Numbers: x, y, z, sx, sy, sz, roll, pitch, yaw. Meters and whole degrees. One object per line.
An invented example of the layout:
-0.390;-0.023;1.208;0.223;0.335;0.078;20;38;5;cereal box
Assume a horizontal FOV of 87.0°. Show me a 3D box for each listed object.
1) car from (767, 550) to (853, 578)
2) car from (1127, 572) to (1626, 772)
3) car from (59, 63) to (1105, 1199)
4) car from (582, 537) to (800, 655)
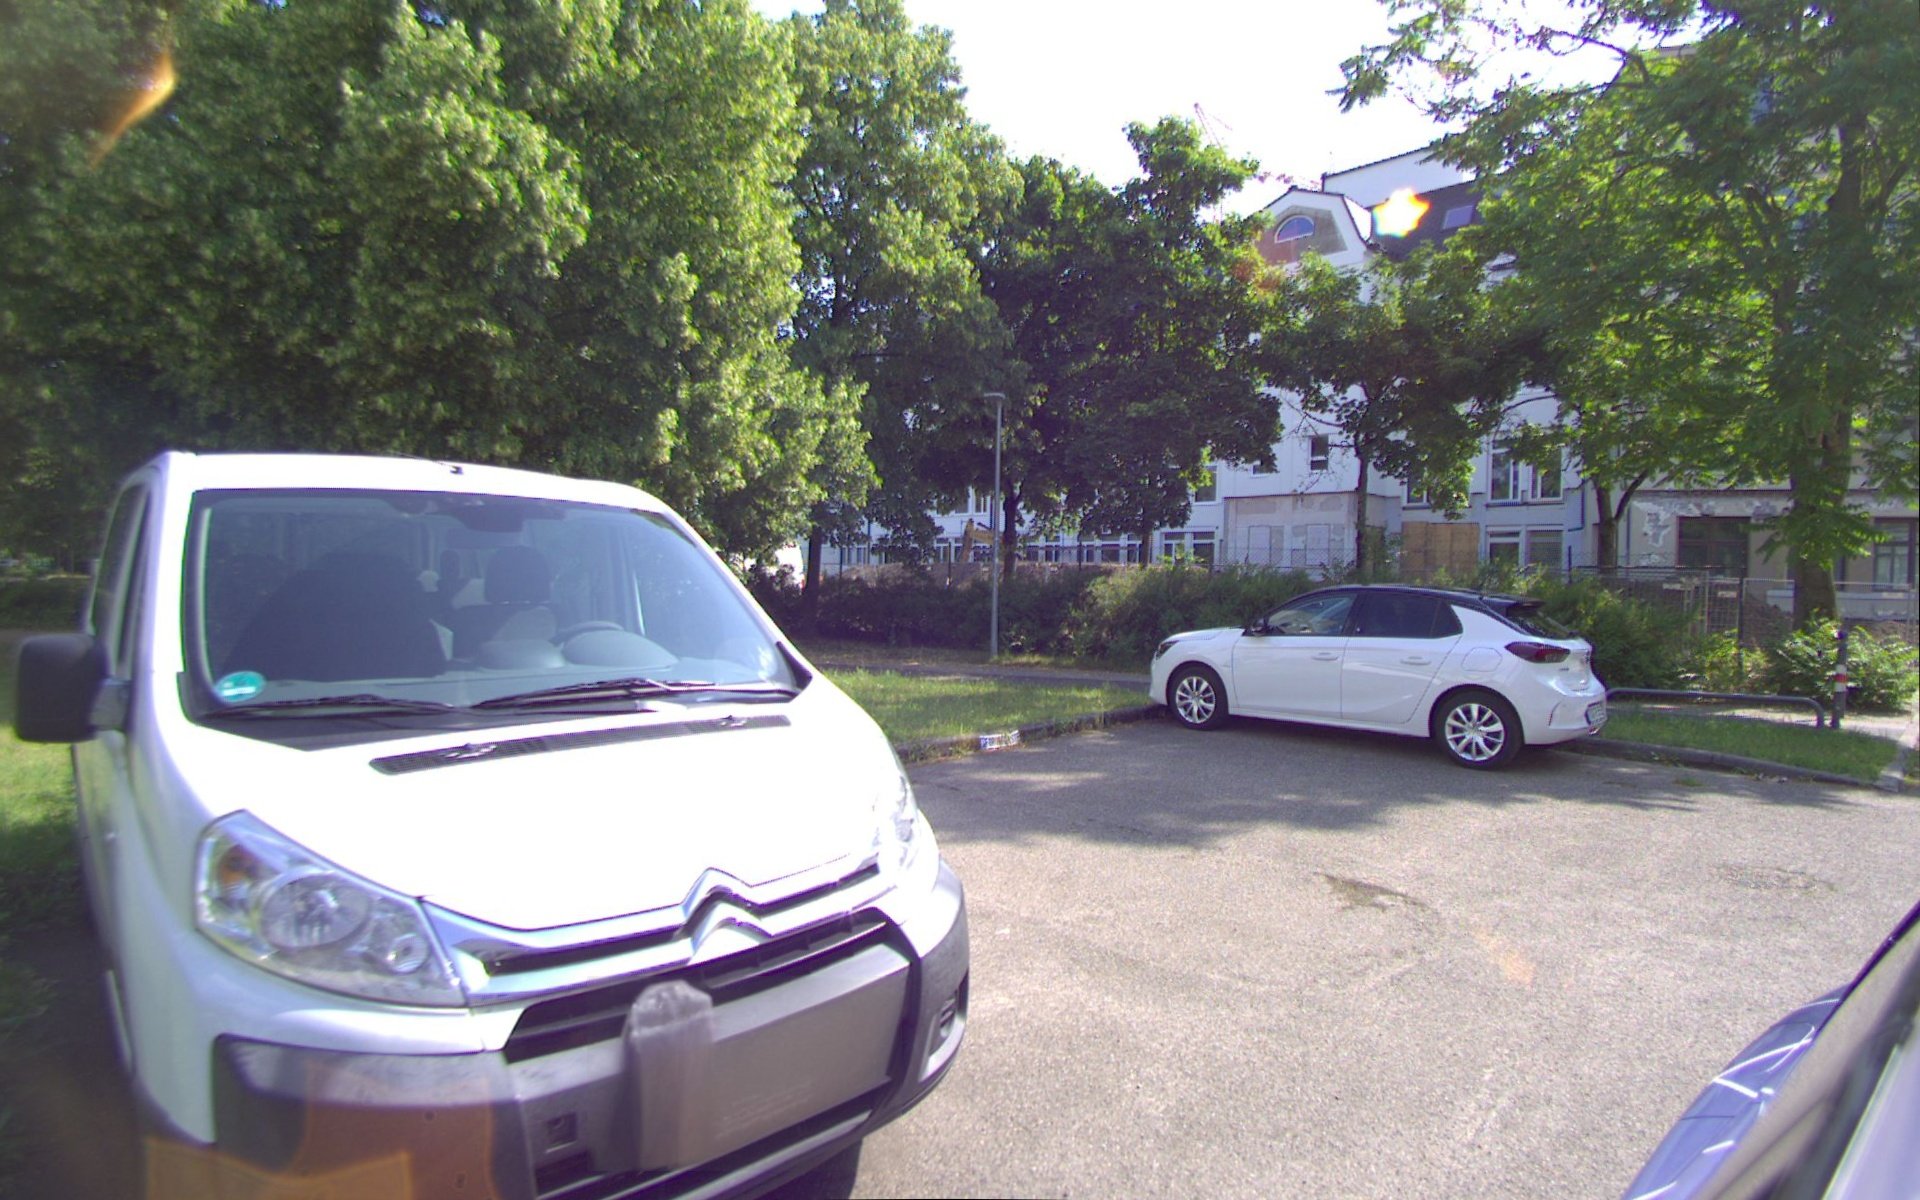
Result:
-8.685;-2.042;58.846;4.787;1.446;1.840;0;-1;-44;car
3.652;0.470;9.273;3.901;1.437;1.733;1;2;42;car
-2.012;0.279;3.814;1.966;1.989;4.945;1;0;-43;car
-7.685;-0.068;29.932;1.982;3.086;6.903;0;-1;29;car
